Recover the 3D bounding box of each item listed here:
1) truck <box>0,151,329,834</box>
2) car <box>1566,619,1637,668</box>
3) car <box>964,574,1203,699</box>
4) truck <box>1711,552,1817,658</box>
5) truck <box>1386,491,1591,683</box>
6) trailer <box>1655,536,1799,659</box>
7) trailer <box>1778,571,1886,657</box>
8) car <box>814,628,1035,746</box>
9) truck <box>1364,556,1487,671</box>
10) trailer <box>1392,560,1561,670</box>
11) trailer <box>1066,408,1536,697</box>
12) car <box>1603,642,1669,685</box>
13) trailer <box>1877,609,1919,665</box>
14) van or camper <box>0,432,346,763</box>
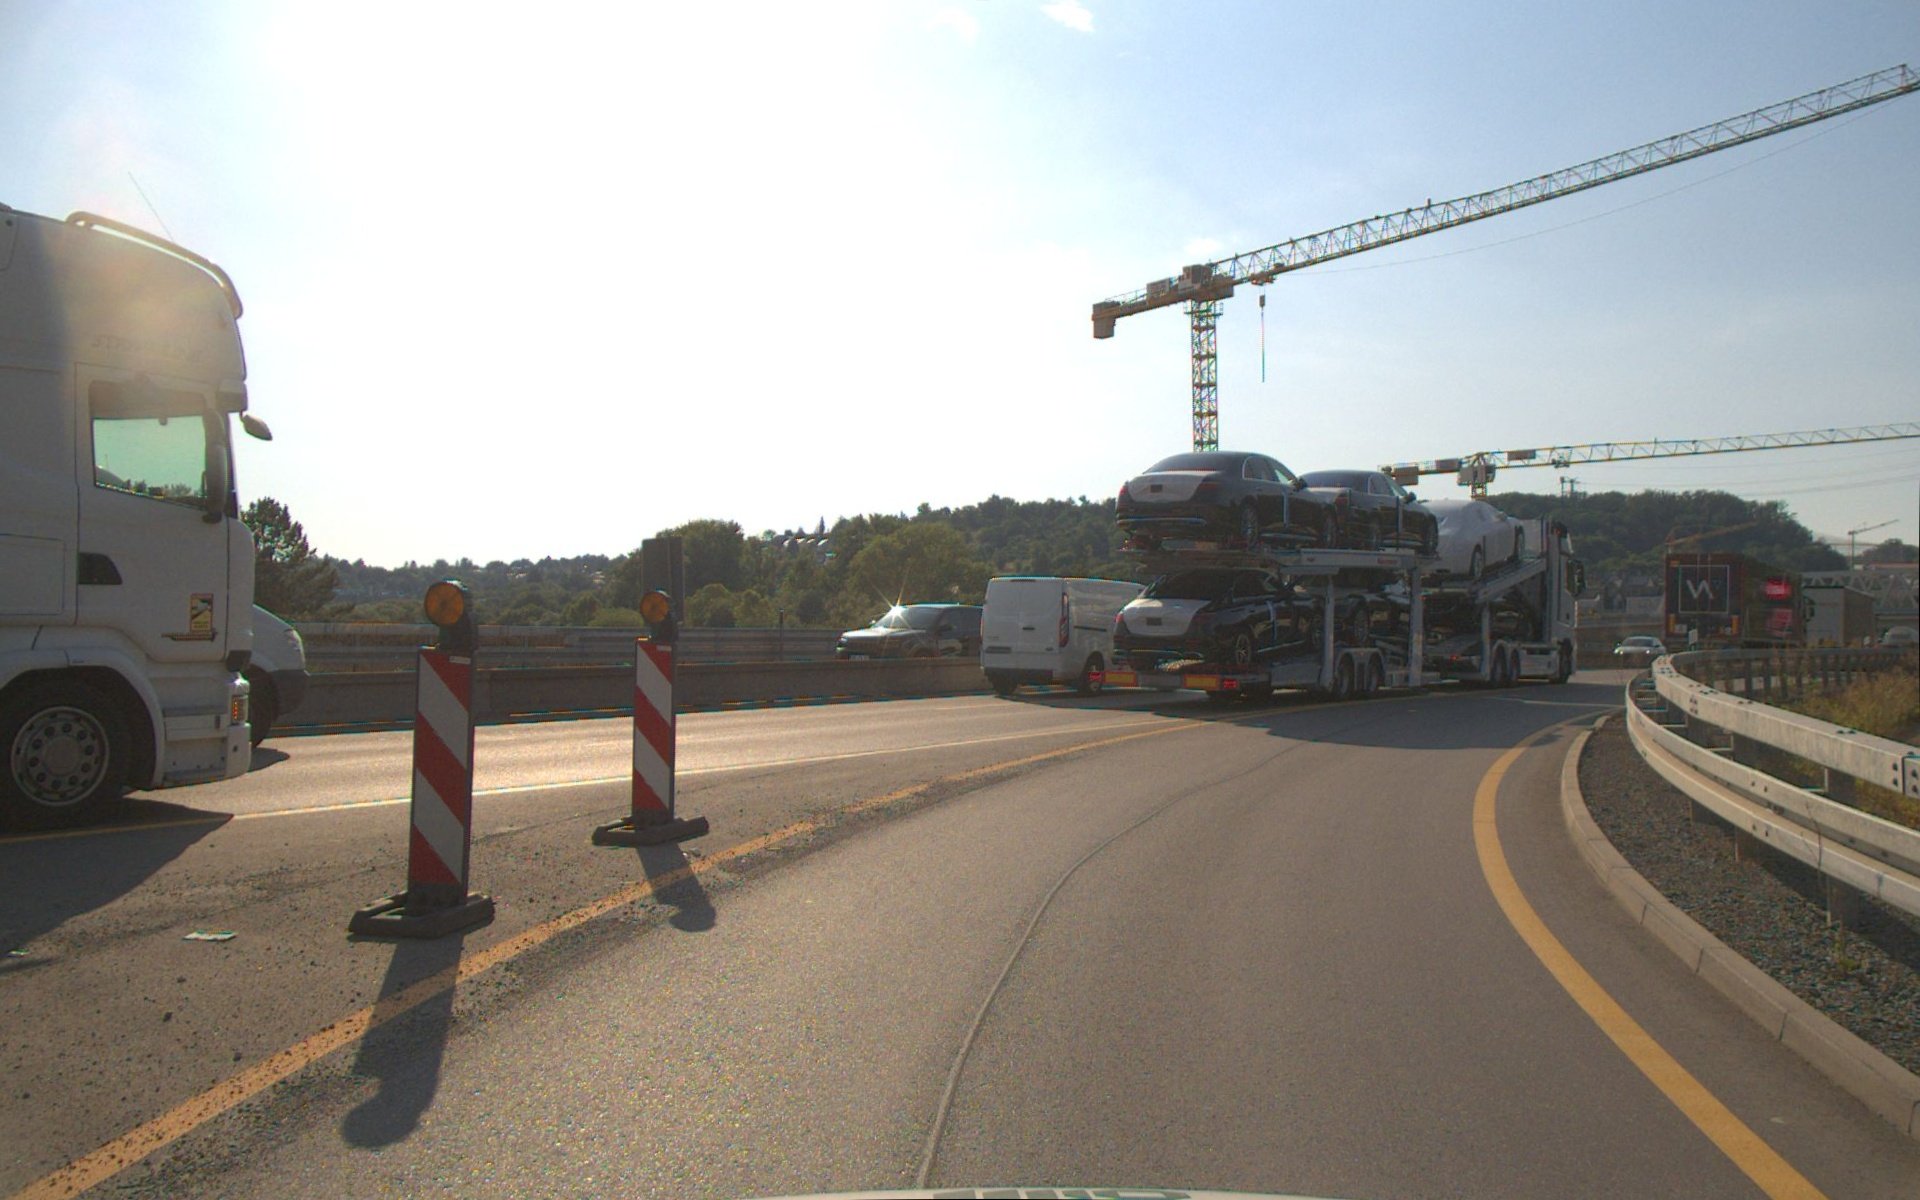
[{"bbox_3d":[-7.021,-0.640,9.527,2.437,3.947,5.992,-1,-2,34],"label":"truck"},{"bbox_3d":[24.874,1.713,64.069,1.797,1.783,3.989,-2,-3,32],"label":"car"},{"bbox_3d":[2.320,0.639,29.600,1.994,2.016,4.961,1,-1,35],"label":"car"},{"bbox_3d":[32.807,0.307,67.411,2.836,4.067,6.600,-1,-2,35],"label":"truck"},{"bbox_3d":[12.420,-0.162,38.503,2.799,4.067,6.602,-1,-2,34],"label":"truck"},{"bbox_3d":[28.644,0.087,61.439,2.908,4.164,10.753,-2,-3,35],"label":"trailer"},{"bbox_3d":[44.895,0.886,84.806,3.326,4.067,14.696,-1,-2,34],"label":"trailer"},{"bbox_3d":[-0.583,1.569,31.238,1.857,2.016,4.518,1,-1,35],"label":"car"},{"bbox_3d":[17.862,0.596,63.228,2.582,4.138,6.108,-3,-3,35],"label":"truck"},{"bbox_3d":[21.787,0.795,69.014,2.582,4.138,14.030,-3,-3,35],"label":"trailer"},{"bbox_3d":[7.114,-0.428,30.602,2.807,4.067,15.694,-1,-2,34],"label":"trailer"},{"bbox_3d":[27.707,2.601,67.711,1.797,1.683,3.989,-2,-3,32],"label":"car"},{"bbox_3d":[71.879,2.872,124.892,3.326,4.067,14.696,-1,-2,34],"label":"trailer"},{"bbox_3d":[-8.398,-0.011,14.116,1.958,2.666,5.885,0,-2,33],"label":"van or camper"}]
